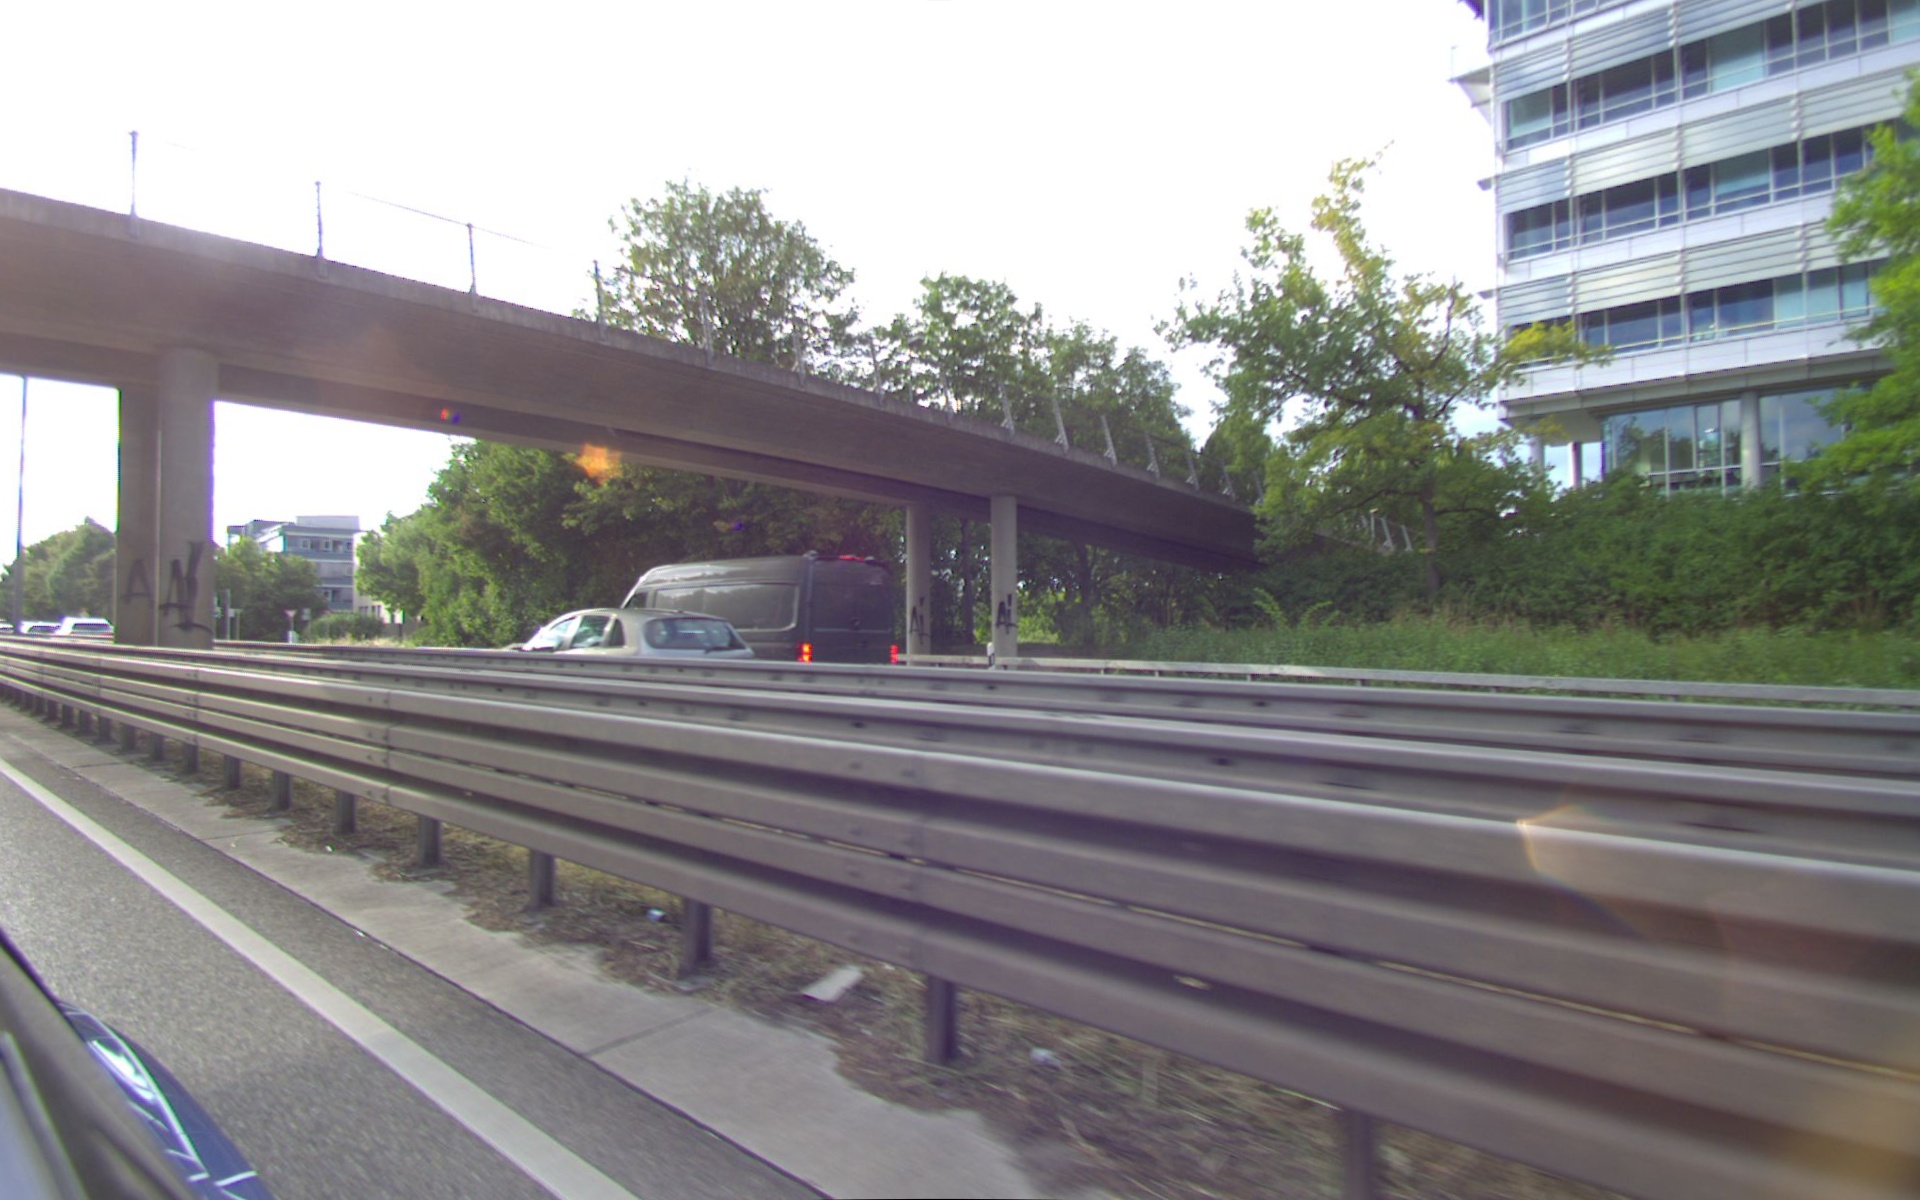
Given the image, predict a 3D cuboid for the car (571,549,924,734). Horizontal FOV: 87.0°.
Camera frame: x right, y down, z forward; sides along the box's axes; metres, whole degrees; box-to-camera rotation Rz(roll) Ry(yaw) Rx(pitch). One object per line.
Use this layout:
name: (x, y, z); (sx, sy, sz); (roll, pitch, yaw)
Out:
car: (-3.875, 0.643, 17.177); (6.939, 2.556, 2.225); (-1, -2, 42)

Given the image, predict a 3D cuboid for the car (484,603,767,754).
car: (-4.082, 0.838, 12.100); (3.638, 1.540, 1.589); (-1, -2, 41)

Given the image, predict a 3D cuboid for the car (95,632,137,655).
car: (-52.014, 2.678, 62.370); (3.308, 1.364, 1.415); (-1, -2, 40)

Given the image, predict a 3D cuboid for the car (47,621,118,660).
car: (-38.431, 1.745, 44.287); (4.789, 1.596, 1.803); (-1, -1, 42)

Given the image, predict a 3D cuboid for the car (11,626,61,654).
car: (-51.871, 2.208, 56.799); (3.733, 1.478, 1.700); (-1, -1, 42)

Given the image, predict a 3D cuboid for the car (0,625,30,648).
car: (-67.727, 2.571, 72.109); (4.553, 1.601, 1.694); (-1, -1, 42)

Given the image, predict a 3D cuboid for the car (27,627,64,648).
car: (-79.634, 3.253, 88.099); (4.846, 1.763, 2.011); (-1, -3, 44)

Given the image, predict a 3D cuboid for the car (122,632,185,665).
car: (-40.901, 2.437, 51.289); (4.397, 1.548, 1.814); (-1, -4, 43)

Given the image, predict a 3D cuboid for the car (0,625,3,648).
car: (-82.305, 3.094, 85.474); (5.051, 1.931, 1.877); (-1, -2, 44)
